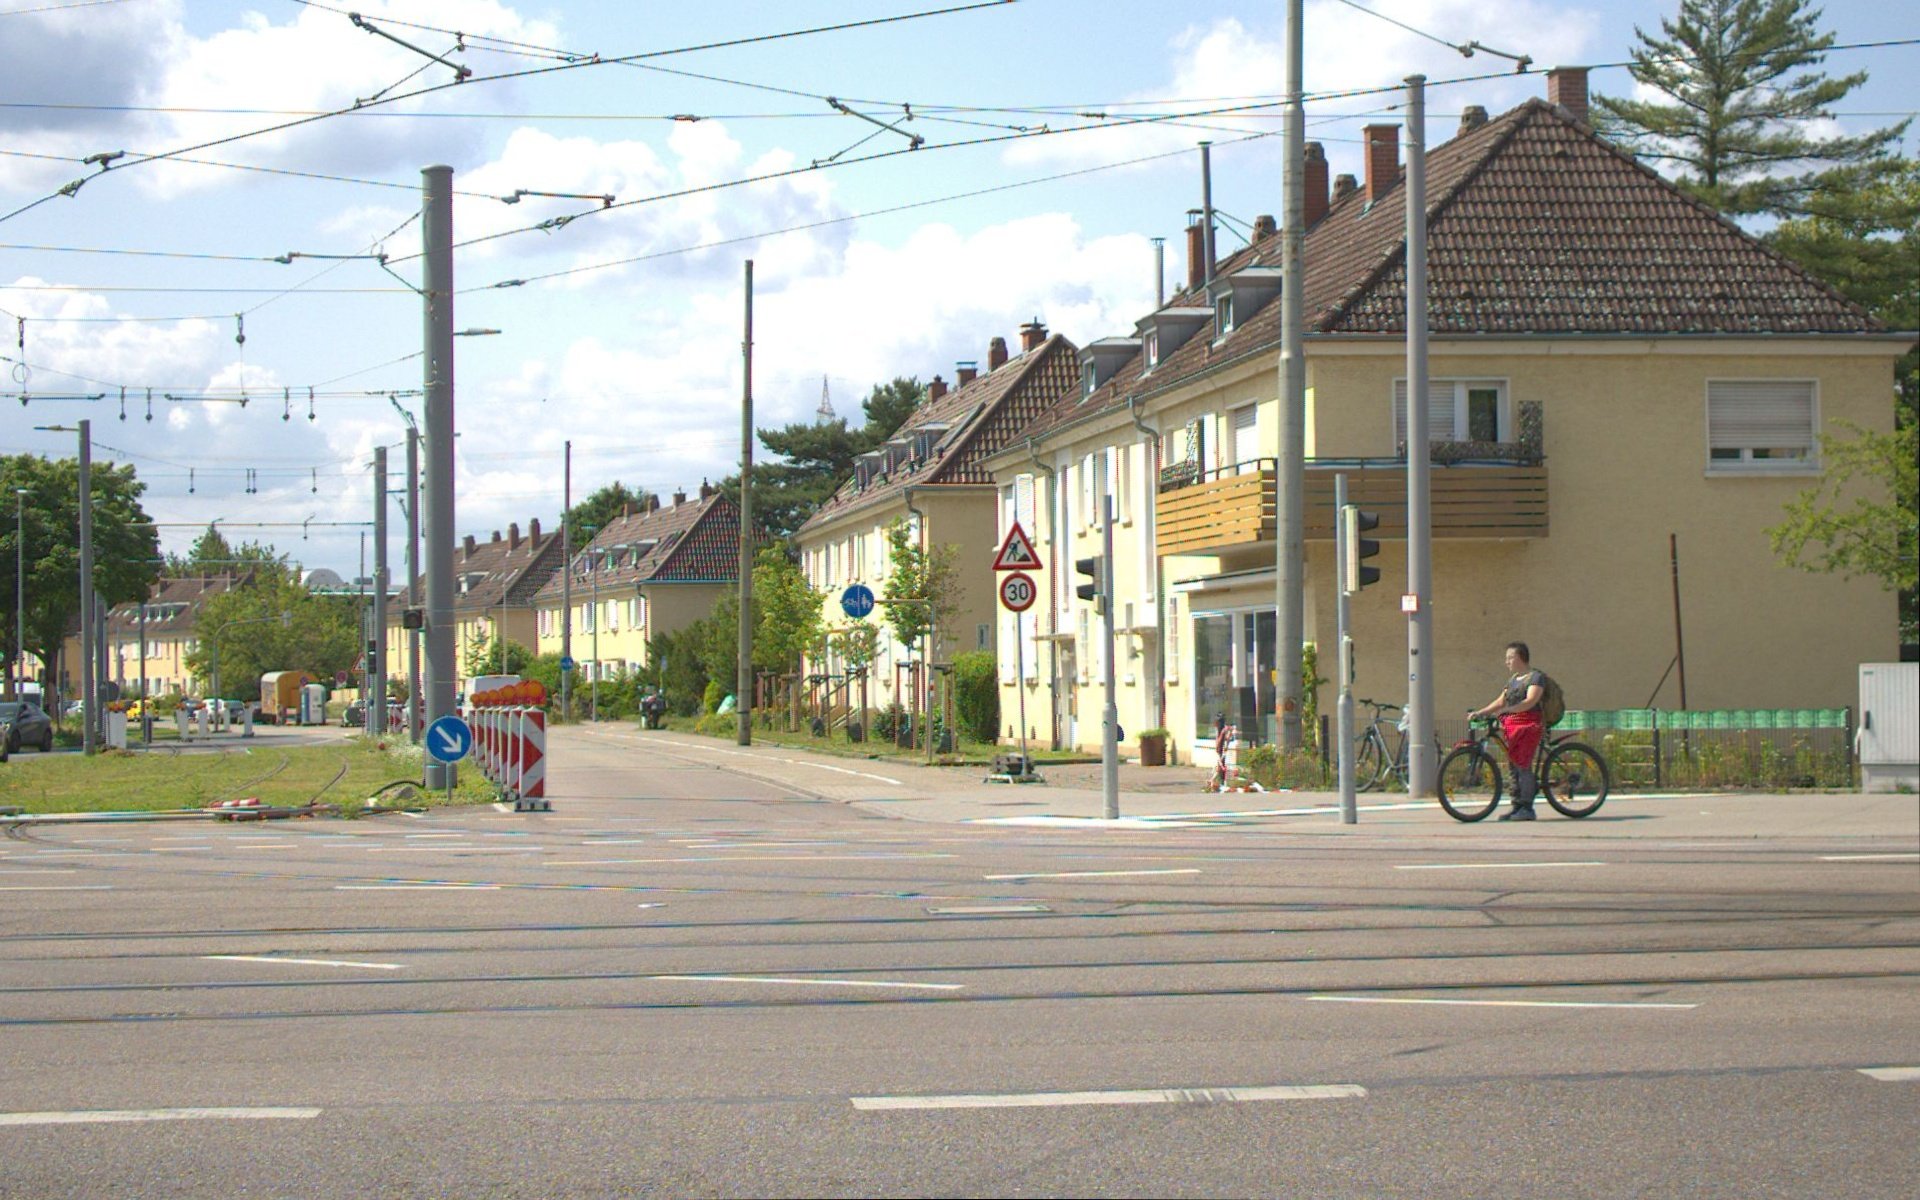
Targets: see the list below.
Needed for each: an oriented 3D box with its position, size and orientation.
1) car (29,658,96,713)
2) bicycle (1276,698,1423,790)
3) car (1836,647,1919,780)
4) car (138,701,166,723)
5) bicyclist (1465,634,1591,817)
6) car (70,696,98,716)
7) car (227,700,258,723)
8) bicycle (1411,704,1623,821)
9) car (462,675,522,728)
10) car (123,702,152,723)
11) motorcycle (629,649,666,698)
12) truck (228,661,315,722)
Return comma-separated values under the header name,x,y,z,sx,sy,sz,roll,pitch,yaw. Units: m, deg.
name,x,y,z,sx,sy,sz,roll,pitch,yaw
car,-39.790,3.781,152.310,2.406,2.362,4.880,0,-1,-20
bicycle,4.759,1.754,42.165,0.593,1.093,2.277,0,-2,-28
car,12.493,1.377,42.033,1.821,1.615,4.000,-1,-3,-12
car,-54.798,7.594,233.139,1.257,1.422,2.665,0,-2,-27
bicyclist,5.608,1.231,33.971,0.957,1.769,0.719,0,-2,-28
car,-63.115,7.634,247.626,1.257,1.346,2.665,0,-2,-29
car,-44.753,6.939,214.414,1.257,1.422,2.665,0,-2,-26
bicycle,5.497,1.588,33.897,2.027,1.098,0.715,0,-2,-29
car,-19.432,4.224,142.694,2.065,2.142,4.879,-1,-2,-12
car,-56.782,7.735,237.224,1.257,1.422,2.665,0,-2,-29
motorcycle,-10.720,2.529,117.951,1.066,1.630,2.084,-1,-2,-11
truck,-40.531,5.420,202.157,2.640,3.482,9.438,0,-2,-26
